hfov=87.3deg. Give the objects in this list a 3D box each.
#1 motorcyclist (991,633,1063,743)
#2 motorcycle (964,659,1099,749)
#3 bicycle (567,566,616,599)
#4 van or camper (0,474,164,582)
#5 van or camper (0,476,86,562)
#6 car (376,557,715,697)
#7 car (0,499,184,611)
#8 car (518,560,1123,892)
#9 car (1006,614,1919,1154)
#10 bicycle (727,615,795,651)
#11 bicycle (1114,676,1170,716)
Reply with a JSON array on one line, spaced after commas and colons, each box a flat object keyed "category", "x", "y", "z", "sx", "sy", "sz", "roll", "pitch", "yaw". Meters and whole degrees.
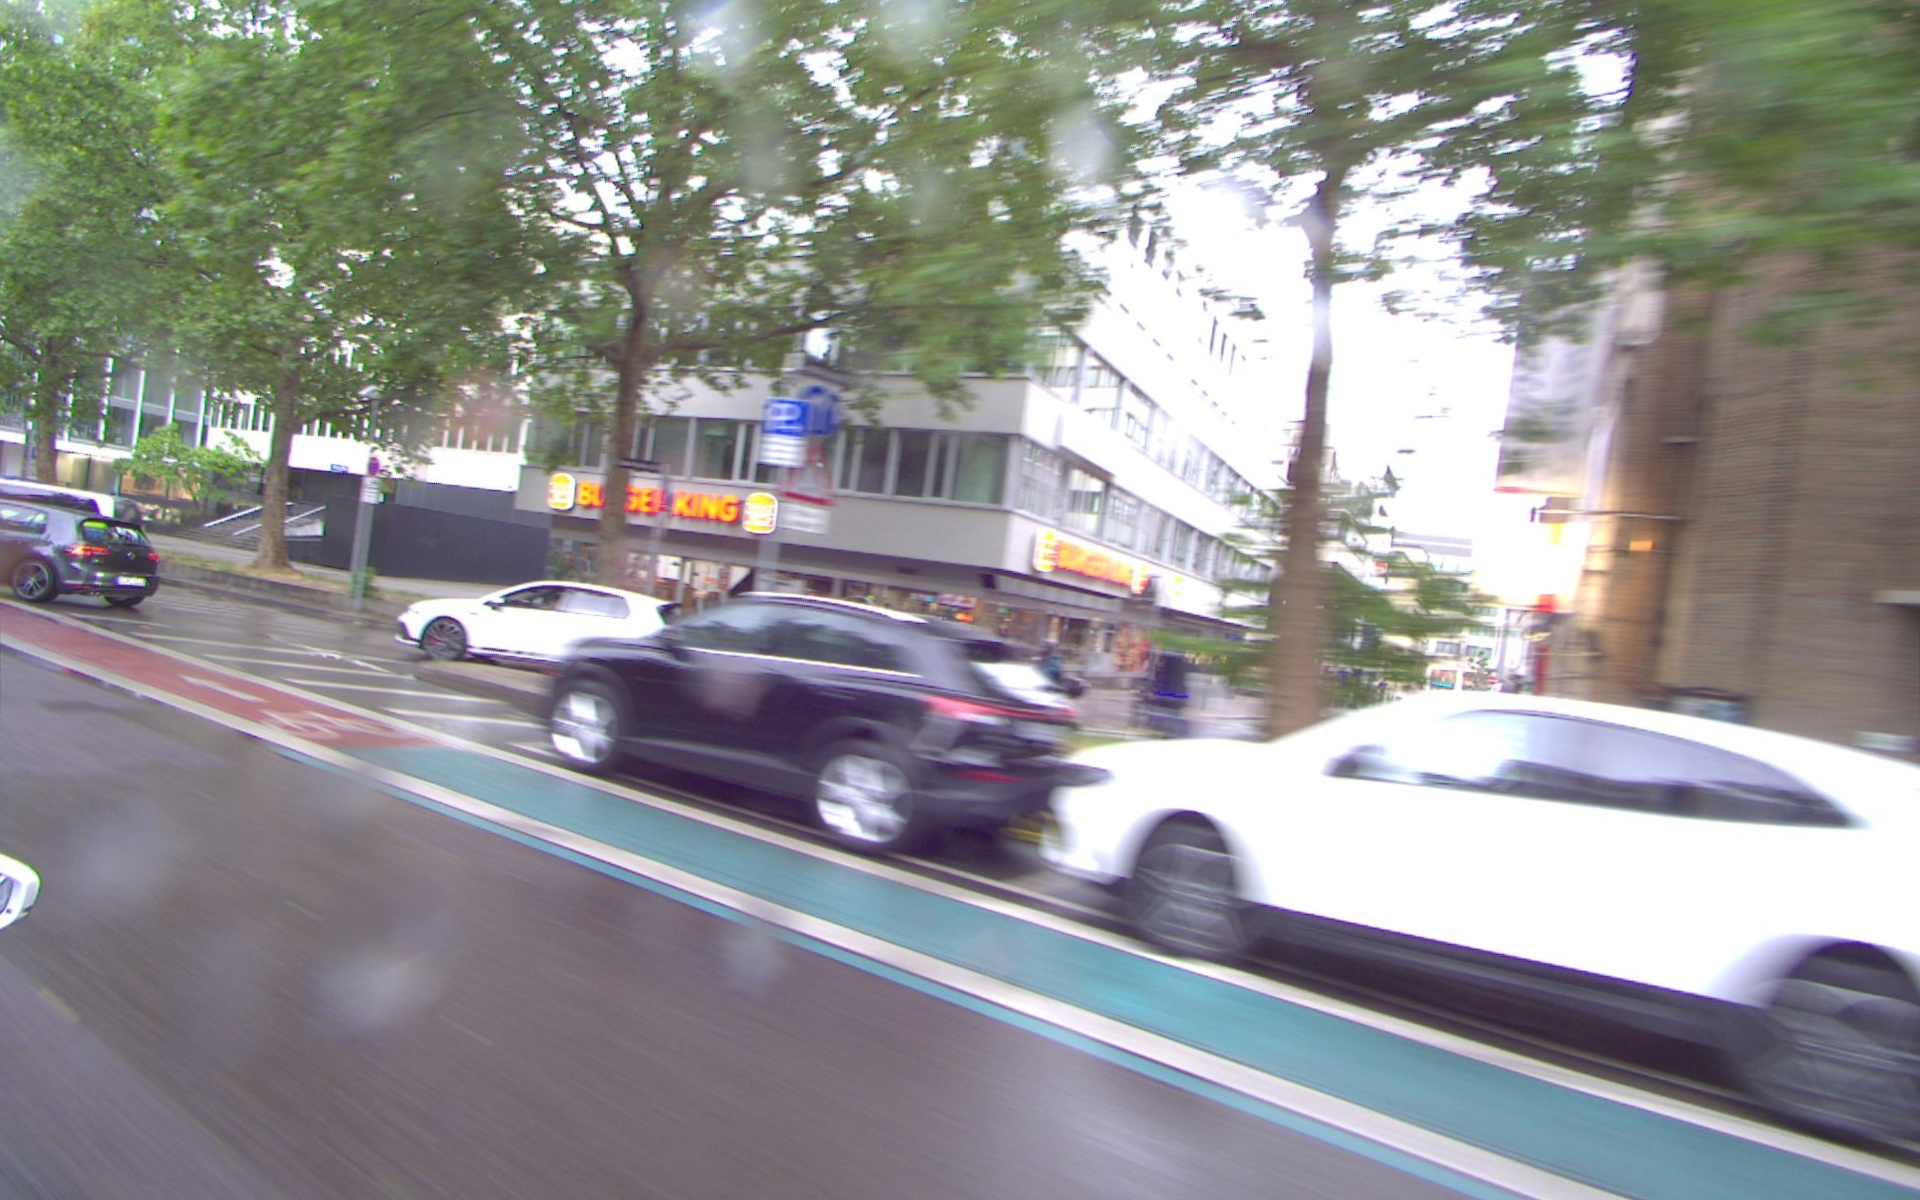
[{"category": "motorcyclist", "x": 1.122, "y": 1.440, "z": 16.639, "sx": 0.855, "sy": 1.664, "sz": 0.850, "roll": 7, "pitch": 0, "yaw": 13}, {"category": "motorcycle", "x": 1.192, "y": 1.690, "z": 16.617, "sx": 1.983, "sy": 1.156, "sz": 0.869, "roll": 8, "pitch": -1, "yaw": 13}, {"category": "bicycle", "x": -16.562, "y": -0.778, "z": 45.201, "sx": 2.249, "sy": 1.187, "sz": 0.687, "roll": 7, "pitch": 0, "yaw": 31}, {"category": "van or camper", "x": -21.510, "y": -1.789, "z": 22.776, "sx": 4.881, "sy": 2.014, "sz": 1.993, "roll": 9, "pitch": -2, "yaw": -21}, {"category": "van or camper", "x": -26.734, "y": -2.433, "z": 26.505, "sx": 5.024, "sy": 2.042, "sz": 1.987, "roll": 9, "pitch": -2, "yaw": -23}, {"category": "car", "x": -6.295, "y": 0.465, "z": 15.781, "sx": 4.433, "sy": 1.461, "sz": 1.867, "roll": 8, "pitch": -3, "yaw": -8}, {"category": "car", "x": -14.586, "y": -0.795, "z": 15.387, "sx": 3.926, "sy": 1.430, "sz": 1.771, "roll": 8, "pitch": 0, "yaw": 0}, {"category": "car", "x": -1.179, "y": 0.800, "z": 7.866, "sx": 4.349, "sy": 1.621, "sz": 1.797, "roll": 7, "pitch": -2, "yaw": 30}, {"category": "car", "x": 2.656, "y": 1.201, "z": 5.369, "sx": 4.333, "sy": 1.604, "sz": 1.757, "roll": 7, "pitch": -1, "yaw": 27}, {"category": "bicycle", "x": -6.003, "y": 0.988, "z": 30.330, "sx": 1.878, "sy": 0.829, "sz": 0.643, "roll": 7, "pitch": 0, "yaw": 23}, {"category": "bicycle", "x": 4.898, "y": 2.590, "z": 26.962, "sx": 0.615, "sy": 0.948, "sz": 1.969, "roll": 7, "pitch": -2, "yaw": 35}]
